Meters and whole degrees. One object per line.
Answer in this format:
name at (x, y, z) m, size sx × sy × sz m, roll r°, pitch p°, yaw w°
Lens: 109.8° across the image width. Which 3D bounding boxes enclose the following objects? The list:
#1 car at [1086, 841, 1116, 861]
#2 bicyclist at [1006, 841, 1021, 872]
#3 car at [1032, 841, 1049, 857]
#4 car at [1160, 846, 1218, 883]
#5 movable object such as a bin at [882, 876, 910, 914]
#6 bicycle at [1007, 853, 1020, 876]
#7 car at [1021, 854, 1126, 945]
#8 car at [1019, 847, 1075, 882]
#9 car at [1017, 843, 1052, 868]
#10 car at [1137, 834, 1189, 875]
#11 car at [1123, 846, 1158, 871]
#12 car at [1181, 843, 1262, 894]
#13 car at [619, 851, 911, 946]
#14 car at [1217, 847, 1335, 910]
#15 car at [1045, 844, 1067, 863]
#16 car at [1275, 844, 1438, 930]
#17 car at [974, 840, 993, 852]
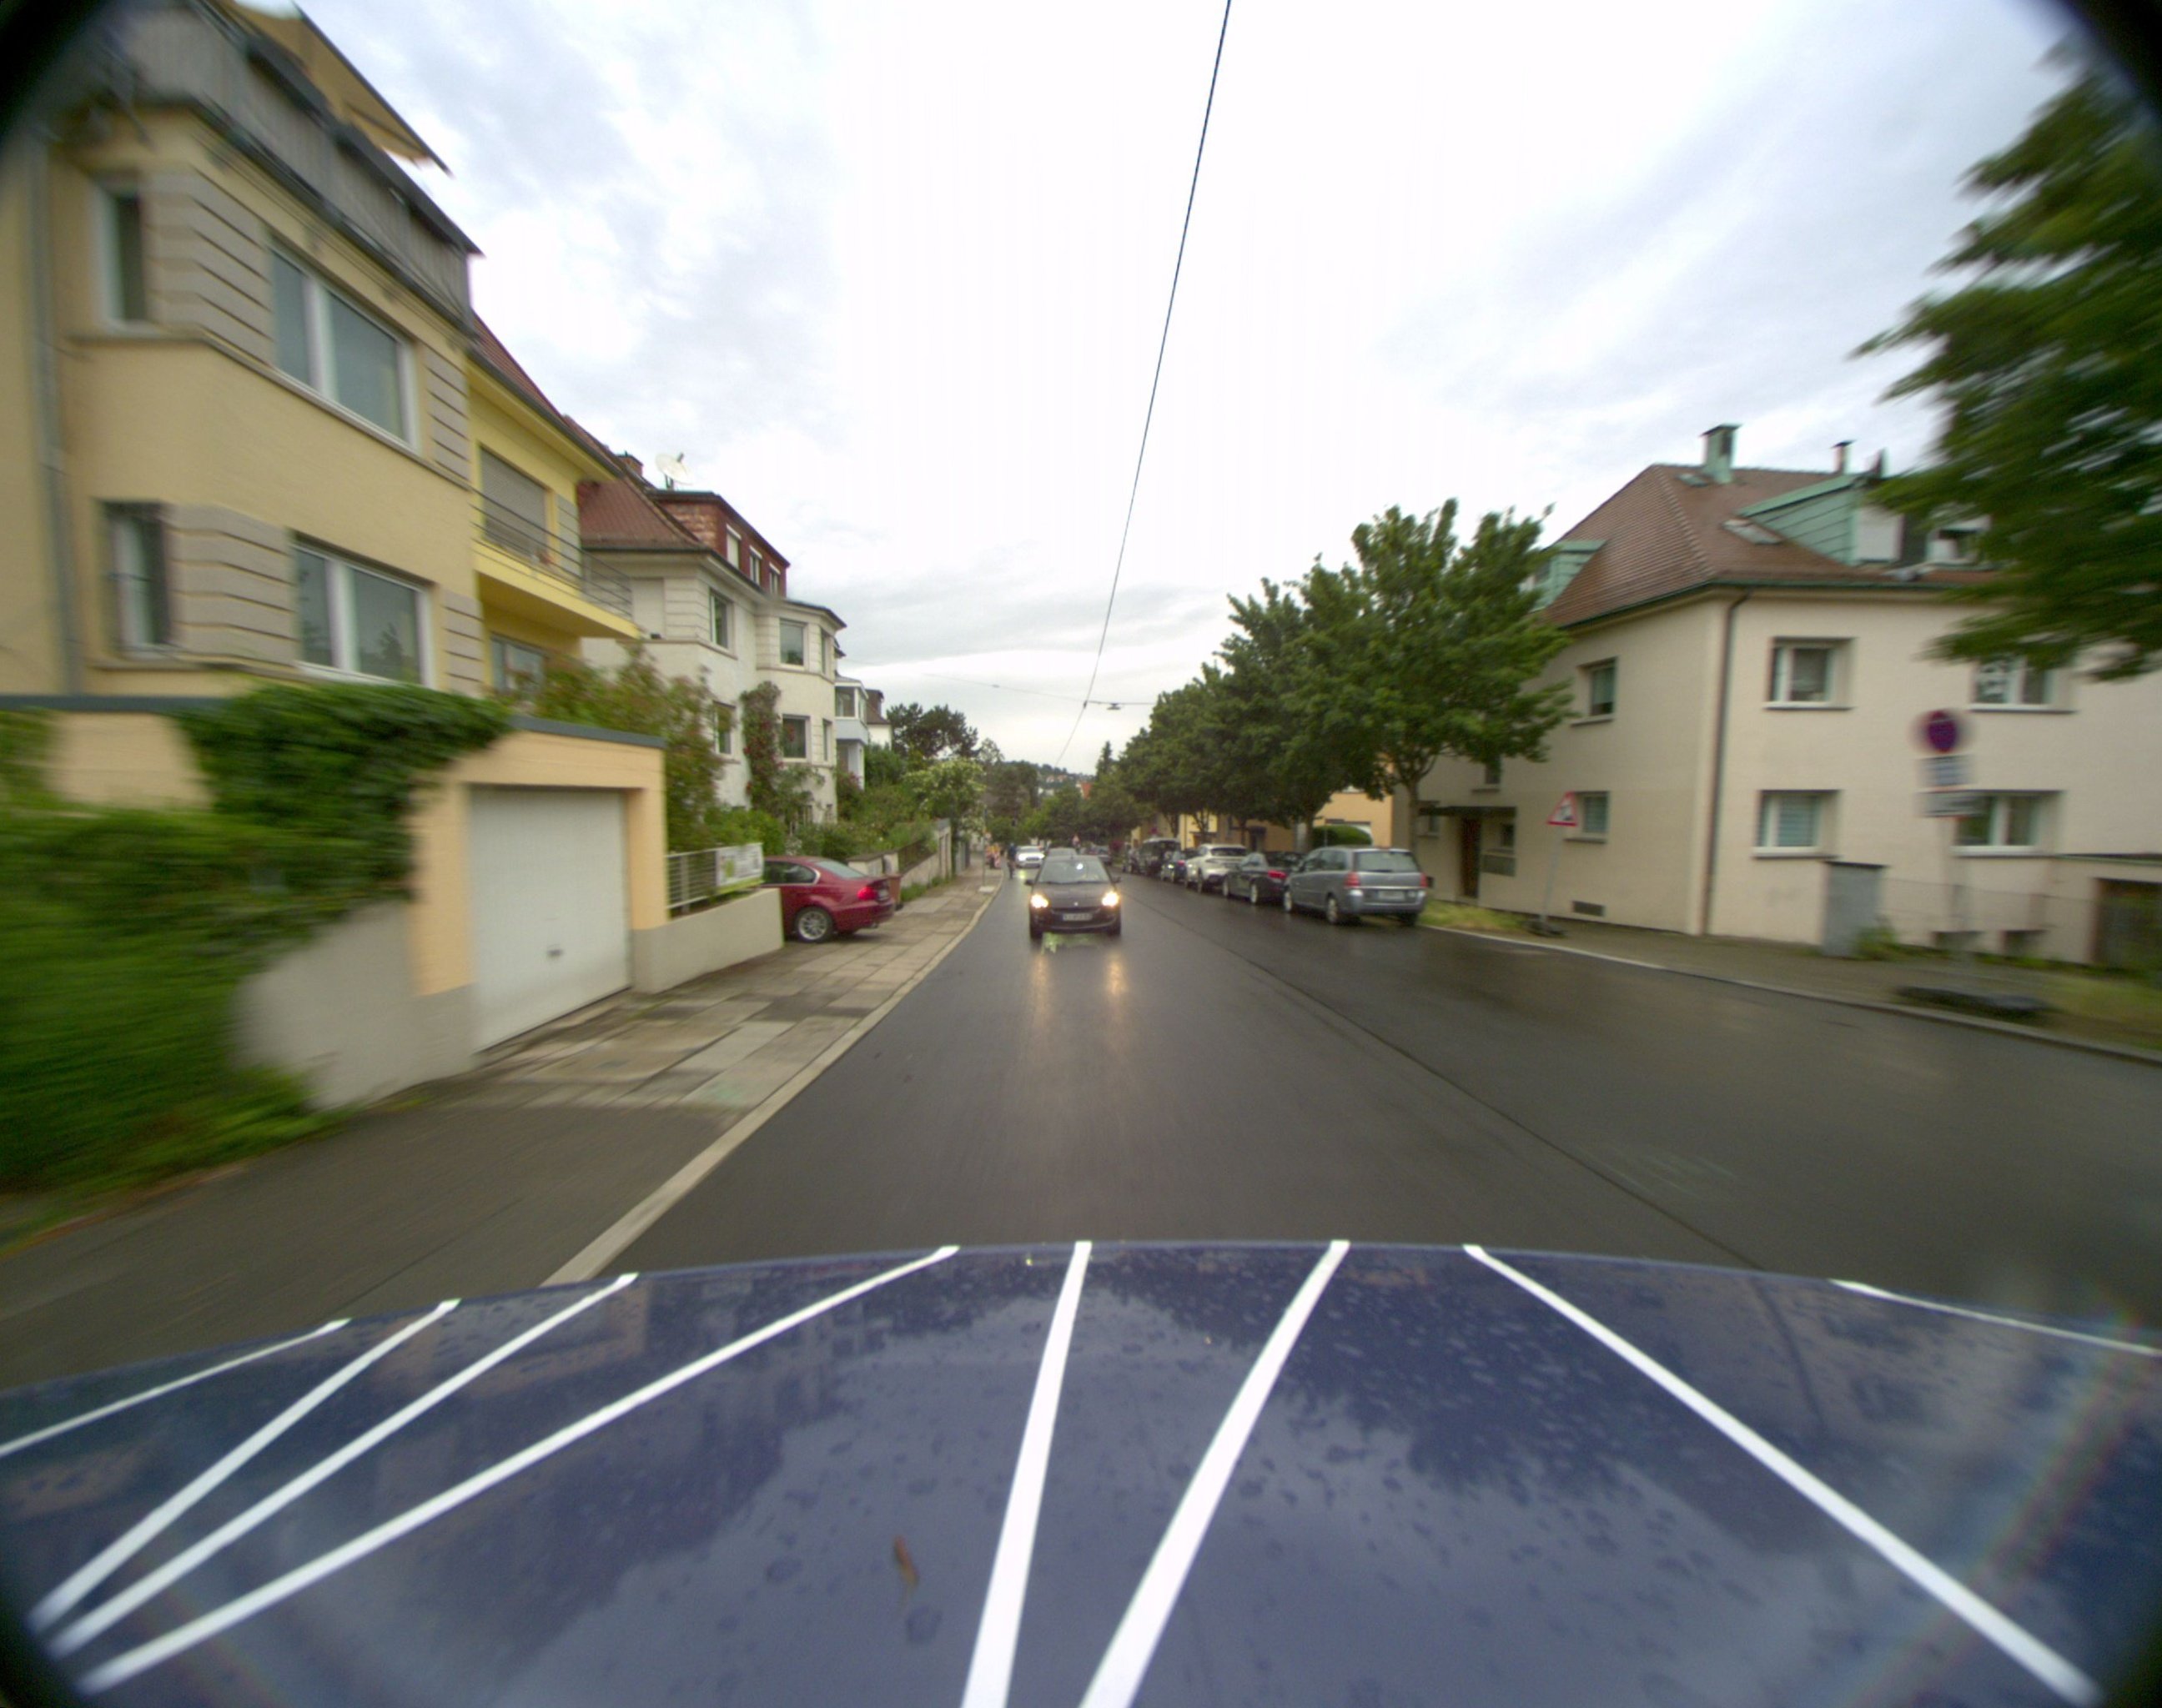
car at (1.611, -0.256, 62.051) m, size 1.910 × 1.591 × 4.086 m, roll 0°, pitch 1°, yaw -6°
bicyclist at (-3.484, 0.109, 39.247) m, size 0.685 × 1.529 × 0.784 m, roll -3°, pitch 2°, yaw -6°
car at (-5.367, -0.684, 100.263) m, size 2.000 × 2.002 × 3.997 m, roll 0°, pitch 1°, yaw -7°
car at (4.664, 0.407, 33.315) m, size 1.623 × 1.434 × 4.265 m, roll 2°, pitch 1°, yaw -4°
movable object such as a bin at (-4.633, 1.022, 19.056) m, size 0.570 × 0.895 × 0.526 m, roll -2°, pitch 2°, yaw -5°
bicycle at (-3.480, 0.545, 39.280) m, size 0.590 × 1.093 × 1.527 m, roll -2°, pitch 2°, yaw -6°
car at (-0.161, 0.785, 15.265) m, size 1.746 × 1.434 × 4.358 m, roll -3°, pitch 1°, yaw -1°
car at (-1.539, 0.437, 36.031) m, size 1.745 × 1.434 × 4.240 m, roll -2°, pitch 1°, yaw 10°
car at (-3.562, 0.052, 57.795) m, size 2.020 × 1.728 × 4.593 m, roll -2°, pitch 1°, yaw -11°
car at (4.293, -0.017, 40.558) m, size 1.823 × 2.001 × 4.559 m, roll 2°, pitch 1°, yaw -5°
car at (3.568, 0.220, 46.074) m, size 1.543 × 1.365 × 3.537 m, roll 2°, pitch 1°, yaw -5°
car at (4.888, 0.444, 27.122) m, size 1.813 × 1.605 × 4.507 m, roll 1°, pitch 1°, yaw -3°
car at (-5.226, 0.706, 12.974) m, size 4.180 × 1.398 × 1.834 m, roll 1°, pitch 1°, yaw 1°
car at (5.406, 0.600, 21.746) m, size 1.827 × 1.500 × 4.735 m, roll 0°, pitch 2°, yaw -4°
car at (-2.728, -0.101, 83.194) m, size 1.998 × 2.002 × 4.001 m, roll 0°, pitch 1°, yaw 4°
car at (5.779, 0.607, 16.581) m, size 1.722 × 1.537 × 4.291 m, roll 2°, pitch 2°, yaw -4°
car at (-16.436, -1.336, 128.469) m, size 2.002 × 1.705 × 3.993 m, roll -5°, pitch 0°, yaw -24°
